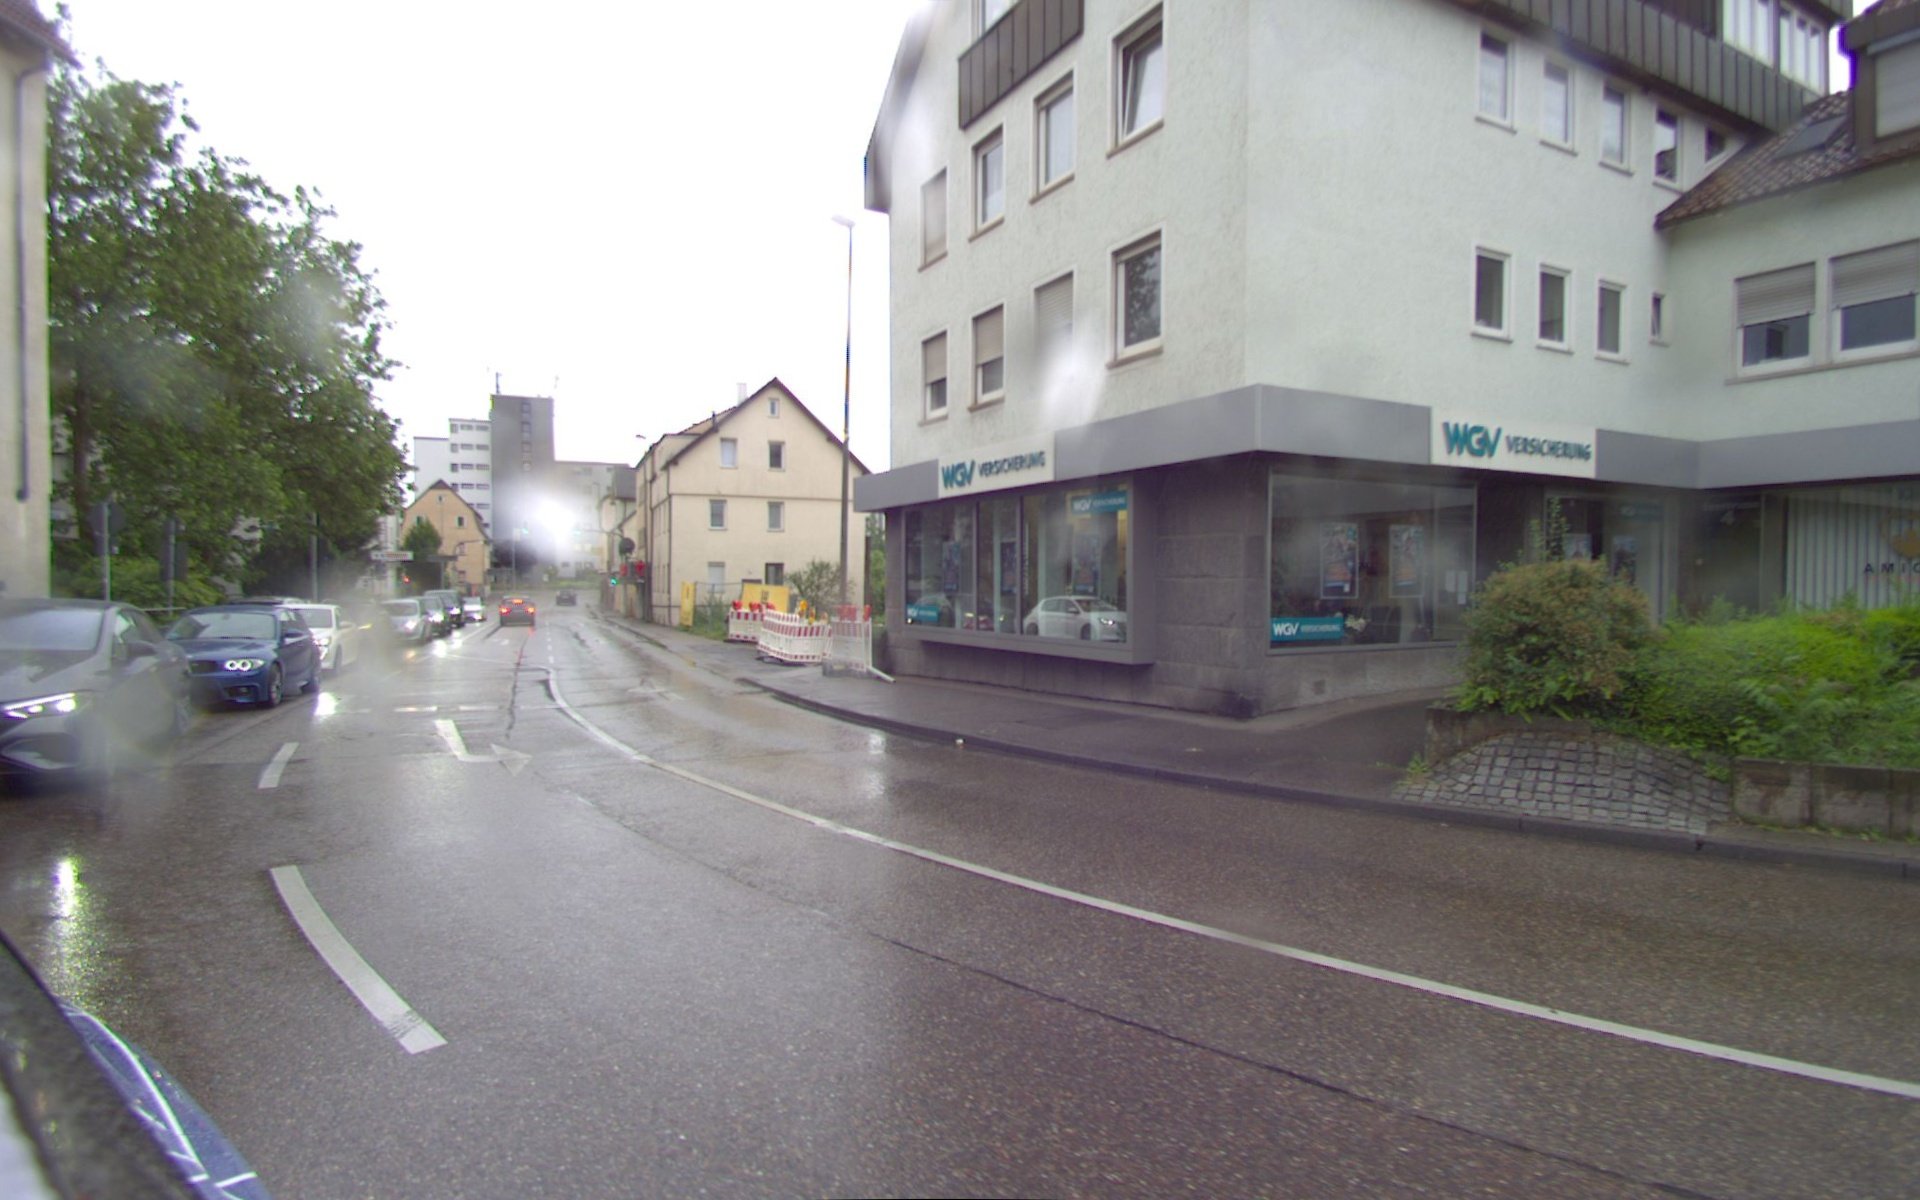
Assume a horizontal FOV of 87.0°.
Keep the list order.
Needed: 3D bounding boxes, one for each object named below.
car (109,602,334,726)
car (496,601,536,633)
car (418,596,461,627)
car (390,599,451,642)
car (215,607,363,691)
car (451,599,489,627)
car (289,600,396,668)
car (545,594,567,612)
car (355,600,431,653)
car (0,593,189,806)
[{"bbox_3d":[-10.821,0.813,15.190,1.744,1.544,4.392,-1,0,-23],"label":"car"},{"bbox_3d":[-23.564,0.892,53.788,1.783,1.577,4.013,-2,1,-23],"label":"car"},{"bbox_3d":[-26.475,0.578,51.558,1.822,1.489,4.013,-1,0,-26],"label":"car"},{"bbox_3d":[-21.736,0.790,40.872,1.802,1.563,4.013,-2,0,-23],"label":"car"},{"bbox_3d":[-13.633,0.915,20.807,1.965,1.464,4.013,-2,1,-26],"label":"car"},{"bbox_3d":[-30.430,0.839,62.795,1.965,1.564,4.013,-1,-2,-27],"label":"car"},{"bbox_3d":[-16.208,0.839,26.739,1.783,1.577,4.013,-2,1,-23],"label":"car"},{"bbox_3d":[-38.981,0.303,97.537,1.783,1.577,4.013,-4,1,-23],"label":"car"},{"bbox_3d":[-18.924,0.828,33.934,1.814,1.633,4.013,-1,0,-23],"label":"car"},{"bbox_3d":[-8.302,0.725,8.835,1.966,1.504,4.327,-1,0,-30],"label":"car"}]
